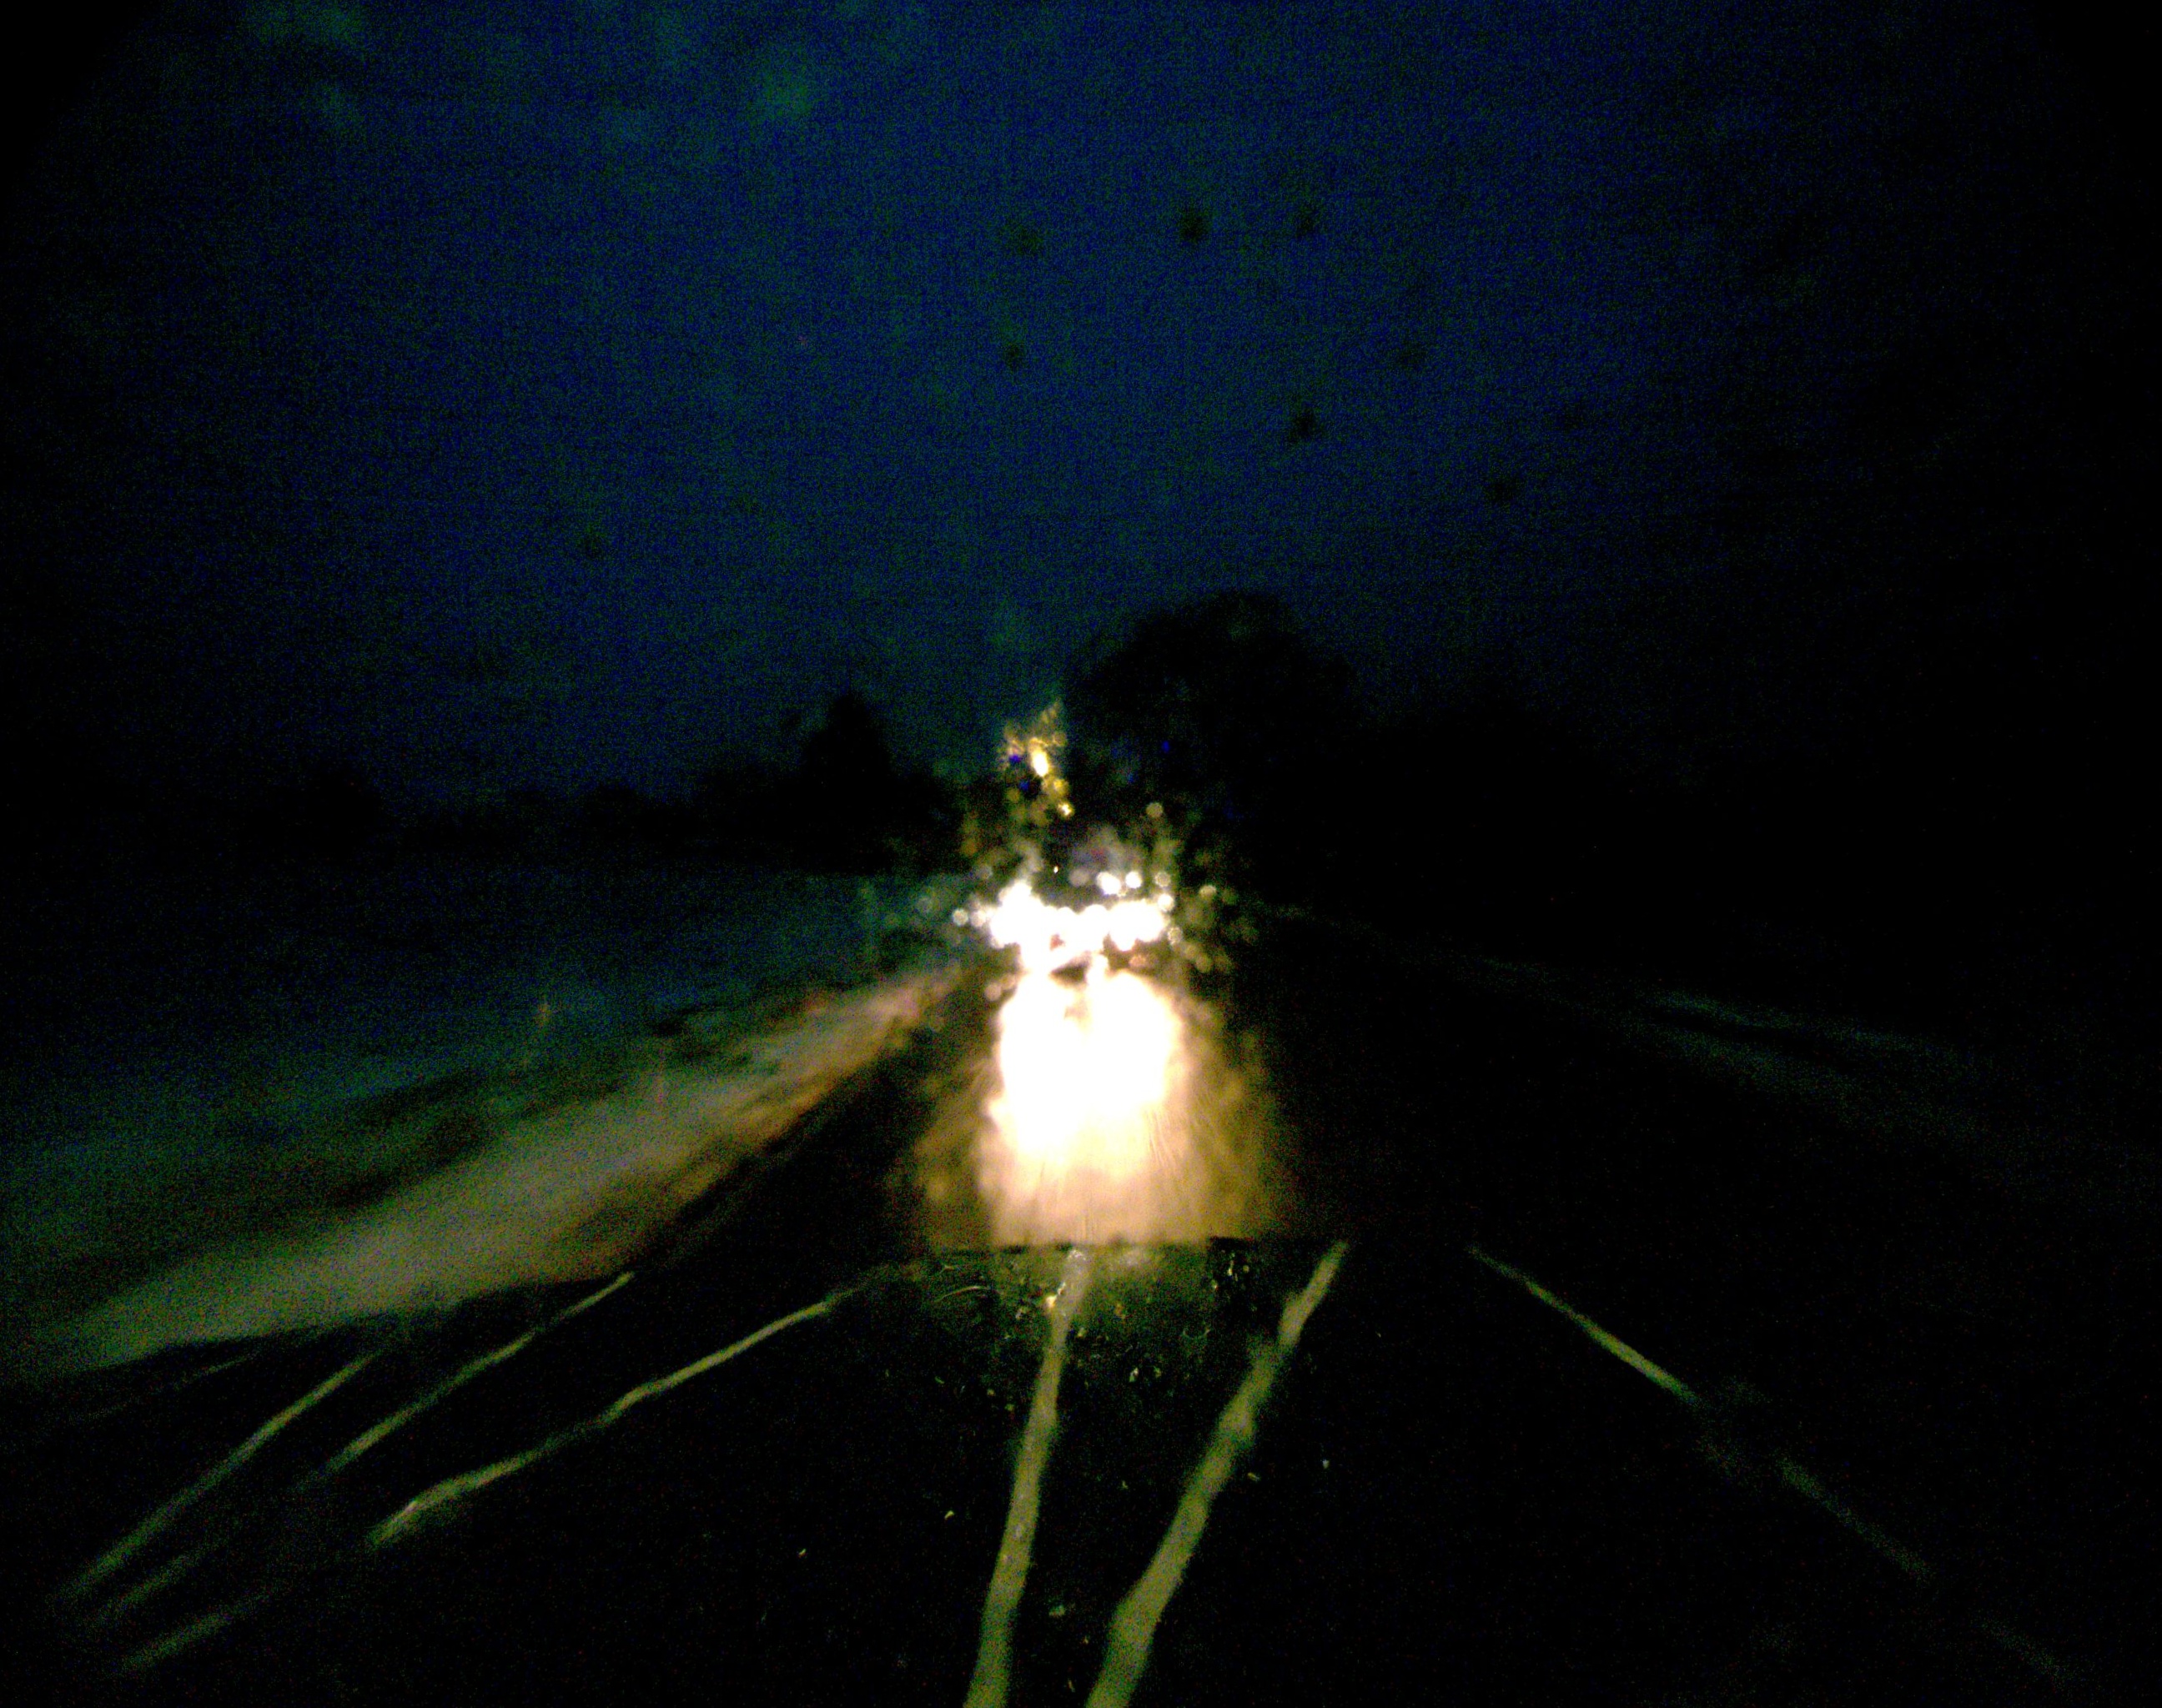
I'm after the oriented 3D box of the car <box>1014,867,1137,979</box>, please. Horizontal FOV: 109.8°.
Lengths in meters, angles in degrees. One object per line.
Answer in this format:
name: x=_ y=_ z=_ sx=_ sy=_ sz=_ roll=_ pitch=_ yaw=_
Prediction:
car: x=-0.031 y=0.975 z=12.281 sx=1.649 sy=1.446 sz=3.681 roll=-2 pitch=0 yaw=1
